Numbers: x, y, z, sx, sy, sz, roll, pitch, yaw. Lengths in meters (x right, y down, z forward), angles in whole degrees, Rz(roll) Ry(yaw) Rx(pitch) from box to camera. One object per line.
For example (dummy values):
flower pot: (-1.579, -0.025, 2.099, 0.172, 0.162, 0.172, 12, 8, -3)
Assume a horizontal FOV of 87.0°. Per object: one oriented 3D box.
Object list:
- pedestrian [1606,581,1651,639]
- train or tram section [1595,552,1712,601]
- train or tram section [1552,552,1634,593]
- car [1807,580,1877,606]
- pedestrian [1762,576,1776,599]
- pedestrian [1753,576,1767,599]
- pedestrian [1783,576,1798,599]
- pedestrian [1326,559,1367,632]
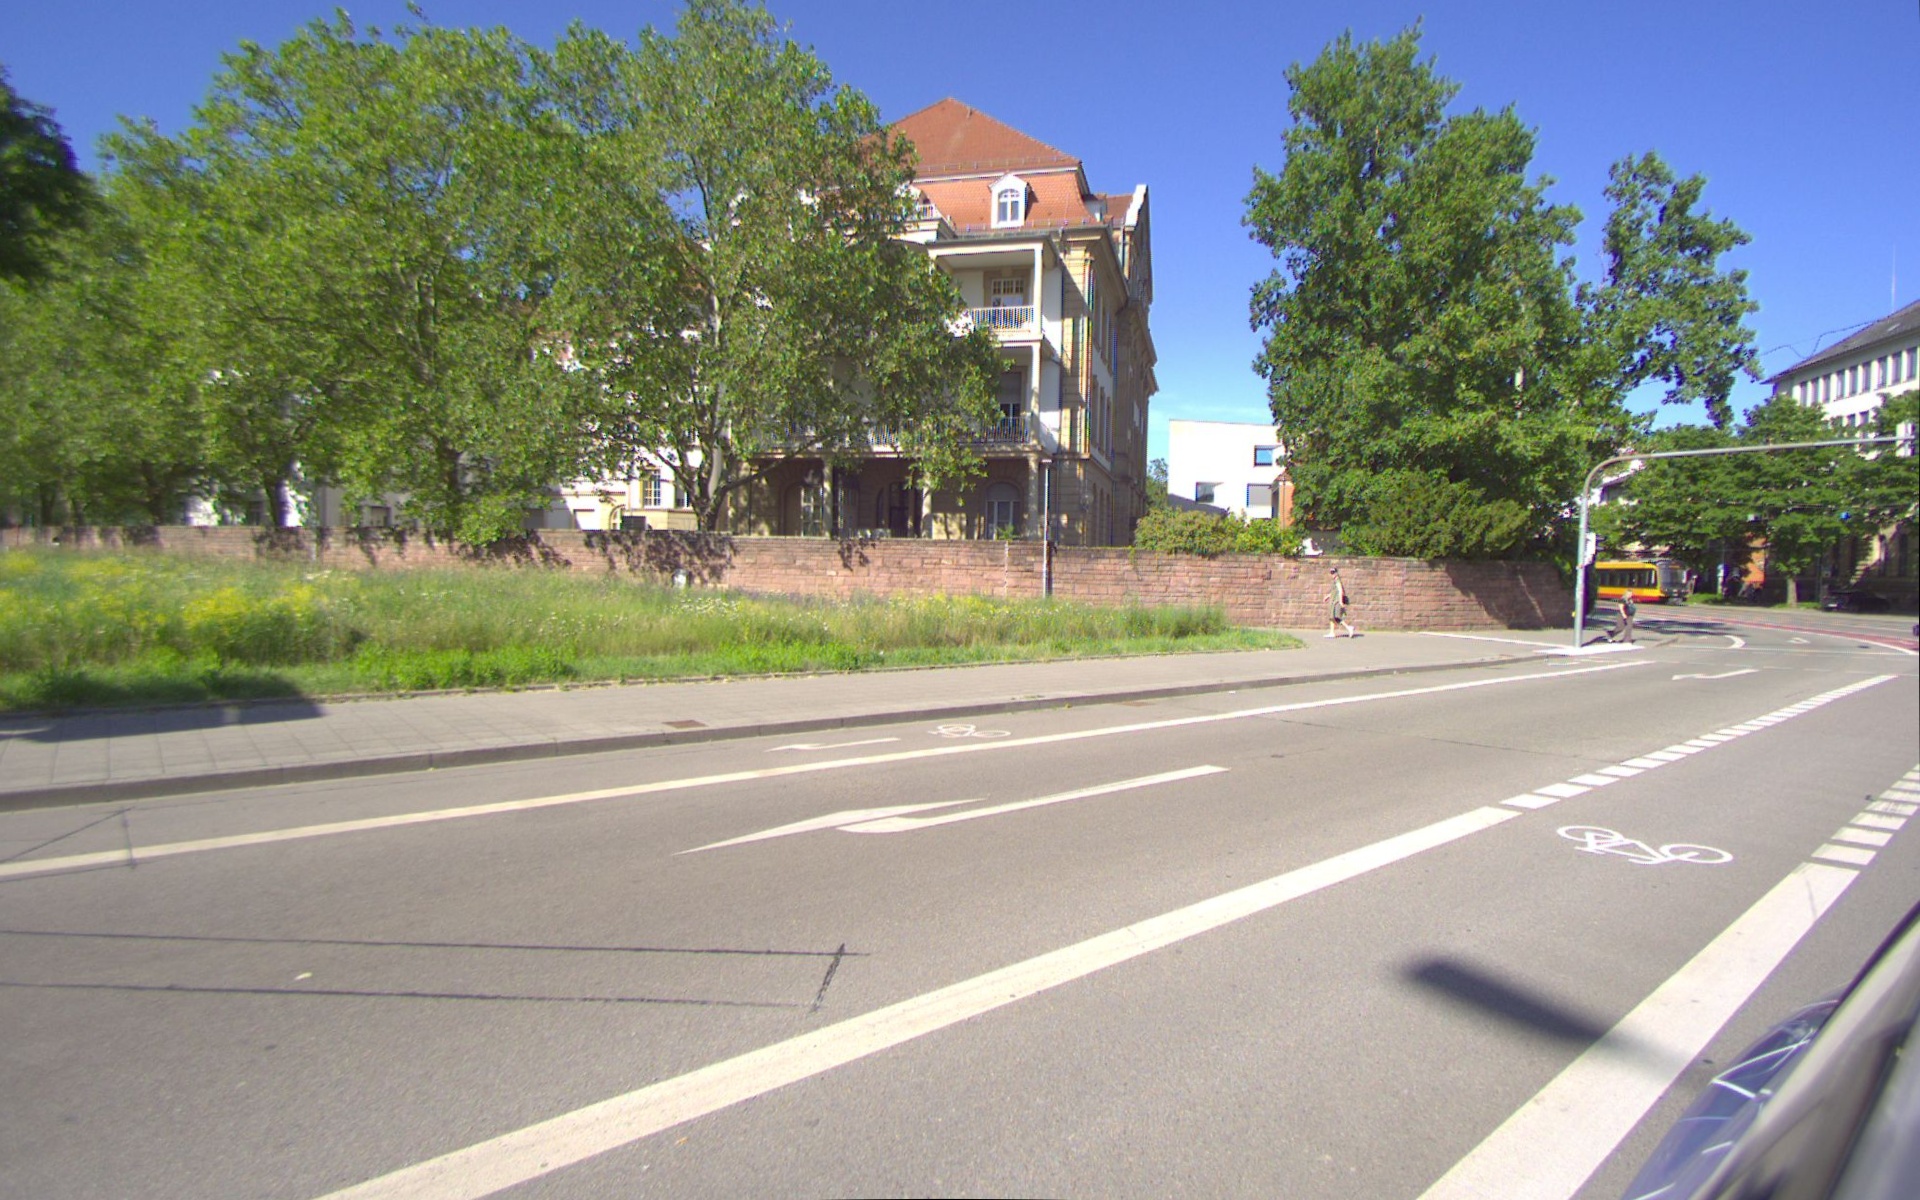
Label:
pedestrian: (20.069, 0.284, 30.374, 0.618, 1.687, 0.933, 0, 2, -35)
train or tram section: (55.621, -1.972, 81.713, 2.898, 3.563, 13.786, 2, 2, 13)
train or tram section: (58.605, -2.586, 94.090, 2.898, 3.563, 11.630, 2, 2, 14)
car: (60.167, -0.518, 69.119, 1.806, 1.615, 3.988, 2, 2, 11)
pedestrian: (68.774, -1.080, 86.040, 0.568, 1.927, 0.849, 1, 1, 12)
pedestrian: (68.011, -1.075, 86.016, 0.568, 1.927, 0.781, 1, 1, 12)
pedestrian: (69.326, -1.068, 84.483, 0.568, 1.927, 0.849, 1, 1, 12)
pedestrian: (10.234, -0.128, 26.820, 0.772, 1.881, 0.630, 1, 1, 1)
